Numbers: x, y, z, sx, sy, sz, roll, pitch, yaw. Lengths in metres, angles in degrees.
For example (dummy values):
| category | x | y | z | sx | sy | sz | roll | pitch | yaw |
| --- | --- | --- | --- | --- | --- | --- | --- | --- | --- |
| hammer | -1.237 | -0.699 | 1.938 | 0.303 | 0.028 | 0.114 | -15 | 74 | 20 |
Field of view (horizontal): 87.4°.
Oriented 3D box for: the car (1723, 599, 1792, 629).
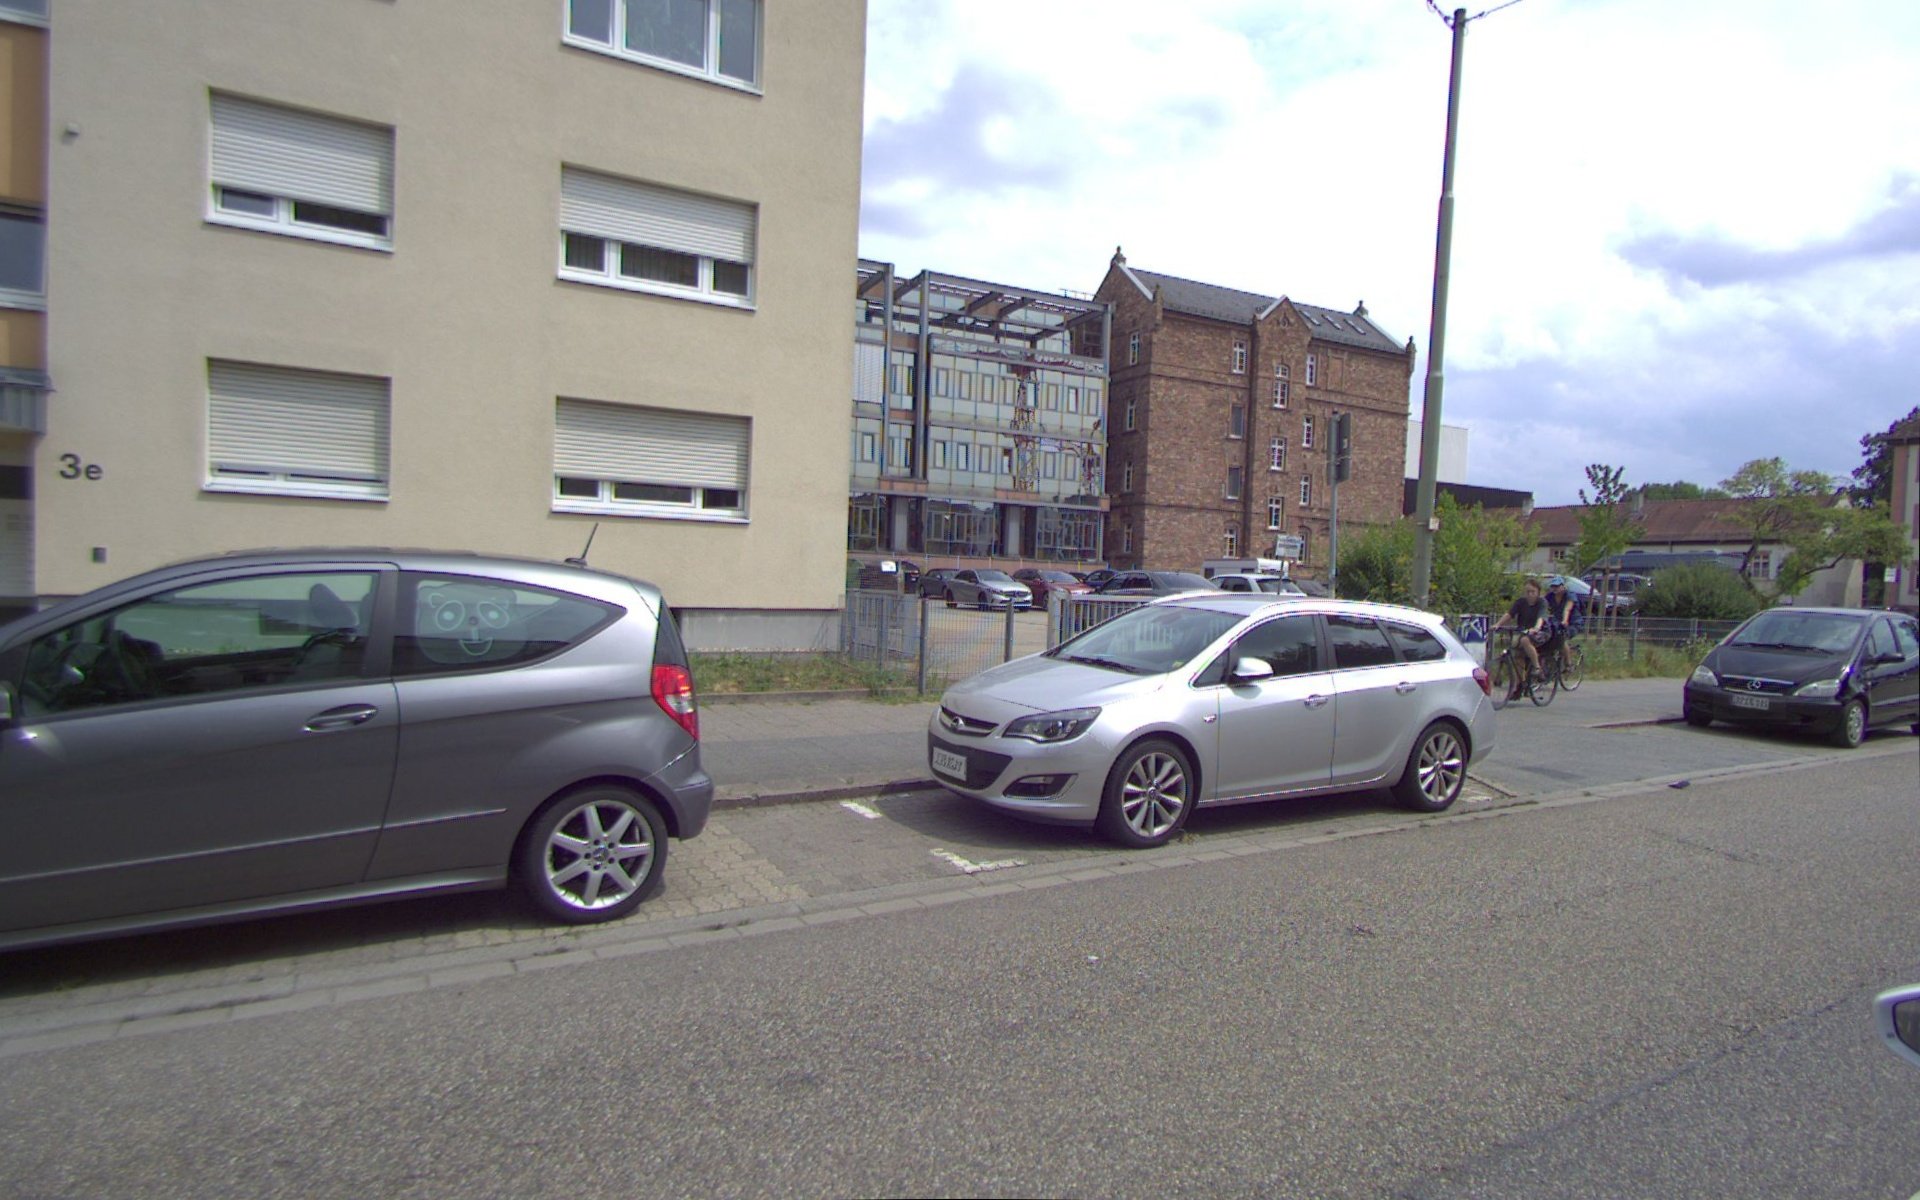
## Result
| category | x | y | z | sx | sy | sz | roll | pitch | yaw |
| --- | --- | --- | --- | --- | --- | --- | --- | --- | --- |
| car | 50.490 | 0.851 | 63.611 | 4.233 | 1.734 | 1.761 | -1 | 3 | -26 |

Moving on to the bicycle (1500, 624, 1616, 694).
| category | x | y | z | sx | sy | sz | roll | pitch | yaw |
| --- | --- | --- | --- | --- | --- | --- | --- | --- | --- |
| bicycle | 9.651 | 0.940 | 16.187 | 2.057 | 1.015 | 0.620 | 2 | 3 | -30 |

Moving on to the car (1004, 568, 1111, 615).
| category | x | y | z | sx | sy | sz | roll | pitch | yaw |
| --- | --- | --- | --- | --- | --- | --- | --- | --- | --- |
| car | 3.414 | -0.334 | 35.986 | 1.957 | 1.503 | 3.972 | 2 | 1 | -27 |

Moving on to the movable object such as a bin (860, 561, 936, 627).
| category | x | y | z | sx | sy | sz | roll | pitch | yaw |
| --- | --- | --- | --- | --- | --- | --- | --- | --- | --- |
| movable object such as a bin | -1.416 | -0.131 | 22.795 | 1.286 | 1.431 | 1.239 | 2 | 0 | -30 |

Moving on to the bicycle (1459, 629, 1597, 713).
| category | x | y | z | sx | sy | sz | roll | pitch | yaw |
| --- | --- | --- | --- | --- | --- | --- | --- | --- | --- |
| bicycle | 7.695 | 0.945 | 13.579 | 2.057 | 1.015 | 0.620 | 2 | 3 | -30 |

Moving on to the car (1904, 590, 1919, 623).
| category | x | y | z | sx | sy | sz | roll | pitch | yaw |
| --- | --- | --- | --- | --- | --- | --- | --- | --- | --- |
| car | 53.835 | 0.321 | 55.073 | 3.905 | 1.734 | 1.761 | -1 | 3 | -26 |

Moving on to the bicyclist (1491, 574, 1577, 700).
| category | x | y | z | sx | sy | sz | roll | pitch | yaw |
| --- | --- | --- | --- | --- | --- | --- | --- | --- | --- |
| bicyclist | 7.746 | 0.491 | 13.568 | 0.756 | 1.629 | 0.611 | 2 | 3 | -30 |

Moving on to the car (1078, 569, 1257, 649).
| category | x | y | z | sx | sy | sz | roll | pitch | yaw |
| --- | --- | --- | --- | --- | --- | --- | --- | --- | --- |
| car | 4.418 | 0.130 | 22.016 | 1.971 | 1.503 | 3.980 | 2 | 1 | -21 |

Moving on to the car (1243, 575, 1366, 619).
| category | x | y | z | sx | sy | sz | roll | pitch | yaw |
| --- | --- | --- | --- | --- | --- | --- | --- | --- | --- |
| car | 14.429 | -0.172 | 42.350 | 2.299 | 1.686 | 4.678 | 1 | 1 | -25 |

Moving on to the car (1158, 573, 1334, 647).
| category | x | y | z | sx | sy | sz | roll | pitch | yaw |
| --- | --- | --- | --- | --- | --- | --- | --- | --- | --- |
| car | 6.654 | 0.181 | 23.813 | 1.971 | 1.503 | 3.980 | 2 | 1 | -21 |

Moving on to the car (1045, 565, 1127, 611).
| category | x | y | z | sx | sy | sz | roll | pitch | yaw |
| --- | --- | --- | --- | --- | --- | --- | --- | --- | --- |
| car | 6.281 | -0.605 | 50.642 | 2.173 | 2.165 | 4.352 | 1 | 1 | -23 |

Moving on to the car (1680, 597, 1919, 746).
| category | x | y | z | sx | sy | sz | roll | pitch | yaw |
| --- | --- | --- | --- | --- | --- | --- | --- | --- | --- |
| car | 11.114 | 0.832 | 12.884 | 3.955 | 1.596 | 1.613 | 1 | 2 | -32 |

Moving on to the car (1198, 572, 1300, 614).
| category | x | y | z | sx | sy | sz | roll | pitch | yaw |
| --- | --- | --- | --- | --- | --- | --- | --- | --- | --- |
| car | 11.766 | -0.313 | 41.200 | 1.596 | 1.503 | 4.139 | 2 | 1 | -27 |

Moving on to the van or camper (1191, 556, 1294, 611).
| category | x | y | z | sx | sy | sz | roll | pitch | yaw |
| --- | --- | --- | --- | --- | --- | --- | --- | --- | --- |
| van or camper | 15.132 | -0.906 | 54.062 | 2.549 | 2.739 | 5.027 | 1 | 1 | -28 |

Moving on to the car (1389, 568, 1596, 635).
| category | x | y | z | sx | sy | sz | roll | pitch | yaw |
| --- | --- | --- | --- | --- | --- | --- | --- | --- | --- |
| car | 15.021 | -0.011 | 28.707 | 1.973 | 1.696 | 5.071 | 1 | 2 | -24 |

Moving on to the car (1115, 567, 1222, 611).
| category | x | y | z | sx | sy | sz | roll | pitch | yaw |
| --- | --- | --- | --- | --- | --- | --- | --- | --- | --- |
| car | 7.994 | -0.456 | 38.855 | 1.945 | 1.503 | 3.972 | 2 | 1 | -27 |

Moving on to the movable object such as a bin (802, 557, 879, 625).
| category | x | y | z | sx | sy | sz | roll | pitch | yaw |
| --- | --- | --- | --- | --- | --- | --- | --- | --- | --- |
| movable object such as a bin | -2.641 | -0.184 | 22.165 | 1.286 | 1.431 | 1.239 | 2 | 0 | -30 |

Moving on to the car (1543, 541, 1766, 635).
| category | x | y | z | sx | sy | sz | roll | pitch | yaw |
| --- | --- | --- | --- | --- | --- | --- | --- | --- | --- |
| car | 22.093 | -0.466 | 32.262 | 2.323 | 2.586 | 5.294 | 2 | 4 | -25 |

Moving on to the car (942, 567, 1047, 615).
| category | x | y | z | sx | sy | sz | roll | pitch | yaw |
| --- | --- | --- | --- | --- | --- | --- | --- | --- | --- |
| car | 1.144 | -0.348 | 35.191 | 1.957 | 1.503 | 3.972 | 2 | 1 | -27 |

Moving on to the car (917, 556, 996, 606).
| category | x | y | z | sx | sy | sz | roll | pitch | yaw |
| --- | --- | --- | --- | --- | --- | --- | --- | --- | --- |
| car | -0.218 | -0.879 | 47.074 | 1.946 | 2.165 | 4.200 | 1 | 1 | -28 |

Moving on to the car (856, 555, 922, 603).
| category | x | y | z | sx | sy | sz | roll | pitch | yaw |
| --- | --- | --- | --- | --- | --- | --- | --- | --- | --- |
| car | -3.284 | -0.950 | 45.774 | 1.942 | 2.040 | 3.706 | 1 | 1 | -22 |

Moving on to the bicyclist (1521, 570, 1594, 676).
| category | x | y | z | sx | sy | sz | roll | pitch | yaw |
| --- | --- | --- | --- | --- | --- | --- | --- | --- | --- |
| bicyclist | 9.555 | 0.367 | 16.064 | 0.756 | 1.629 | 0.611 | 2 | 3 | -30 |

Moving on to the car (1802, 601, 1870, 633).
| category | x | y | z | sx | sy | sz | roll | pitch | yaw |
| --- | --- | --- | --- | --- | --- | --- | --- | --- | --- |
| car | 52.379 | 0.978 | 60.061 | 3.646 | 1.734 | 1.761 | -1 | 3 | -26 |

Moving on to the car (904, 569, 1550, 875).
| category | x | y | z | sx | sy | sz | roll | pitch | yaw |
| --- | --- | --- | --- | --- | --- | --- | --- | --- | --- |
| car | 2.021 | 0.672 | 7.298 | 4.495 | 1.585 | 1.779 | 1 | 4 | -29 |

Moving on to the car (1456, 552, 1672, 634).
| category | x | y | z | sx | sy | sz | roll | pitch | yaw |
| --- | --- | --- | --- | --- | --- | --- | --- | --- | --- |
| car | 17.491 | -0.229 | 29.432 | 2.197 | 2.179 | 5.071 | 1 | 1 | -24 |

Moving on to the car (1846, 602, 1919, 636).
| category | x | y | z | sx | sy | sz | roll | pitch | yaw |
| --- | --- | --- | --- | --- | --- | --- | --- | --- | --- |
| car | 52.949 | 1.065 | 57.647 | 3.905 | 1.734 | 1.761 | -1 | 3 | -26 |

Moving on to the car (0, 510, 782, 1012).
| category | x | y | z | sx | sy | sz | roll | pitch | yaw |
| --- | --- | --- | --- | --- | --- | --- | --- | --- | --- |
| car | -2.904 | 0.515 | 4.424 | 3.797 | 1.646 | 1.708 | 2 | 2 | -32 |

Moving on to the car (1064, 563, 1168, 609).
| category | x | y | z | sx | sy | sz | roll | pitch | yaw |
| --- | --- | --- | --- | --- | --- | --- | --- | --- | --- |
| car | 5.758 | -0.555 | 37.492 | 1.834 | 1.503 | 3.972 | 2 | 1 | -27 |

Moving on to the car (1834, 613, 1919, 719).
| category | x | y | z | sx | sy | sz | roll | pitch | yaw |
| --- | --- | --- | --- | --- | --- | --- | --- | --- | --- |
| car | 15.801 | 1.037 | 15.820 | 3.997 | 1.490 | 1.680 | 2 | 2 | -28 |
